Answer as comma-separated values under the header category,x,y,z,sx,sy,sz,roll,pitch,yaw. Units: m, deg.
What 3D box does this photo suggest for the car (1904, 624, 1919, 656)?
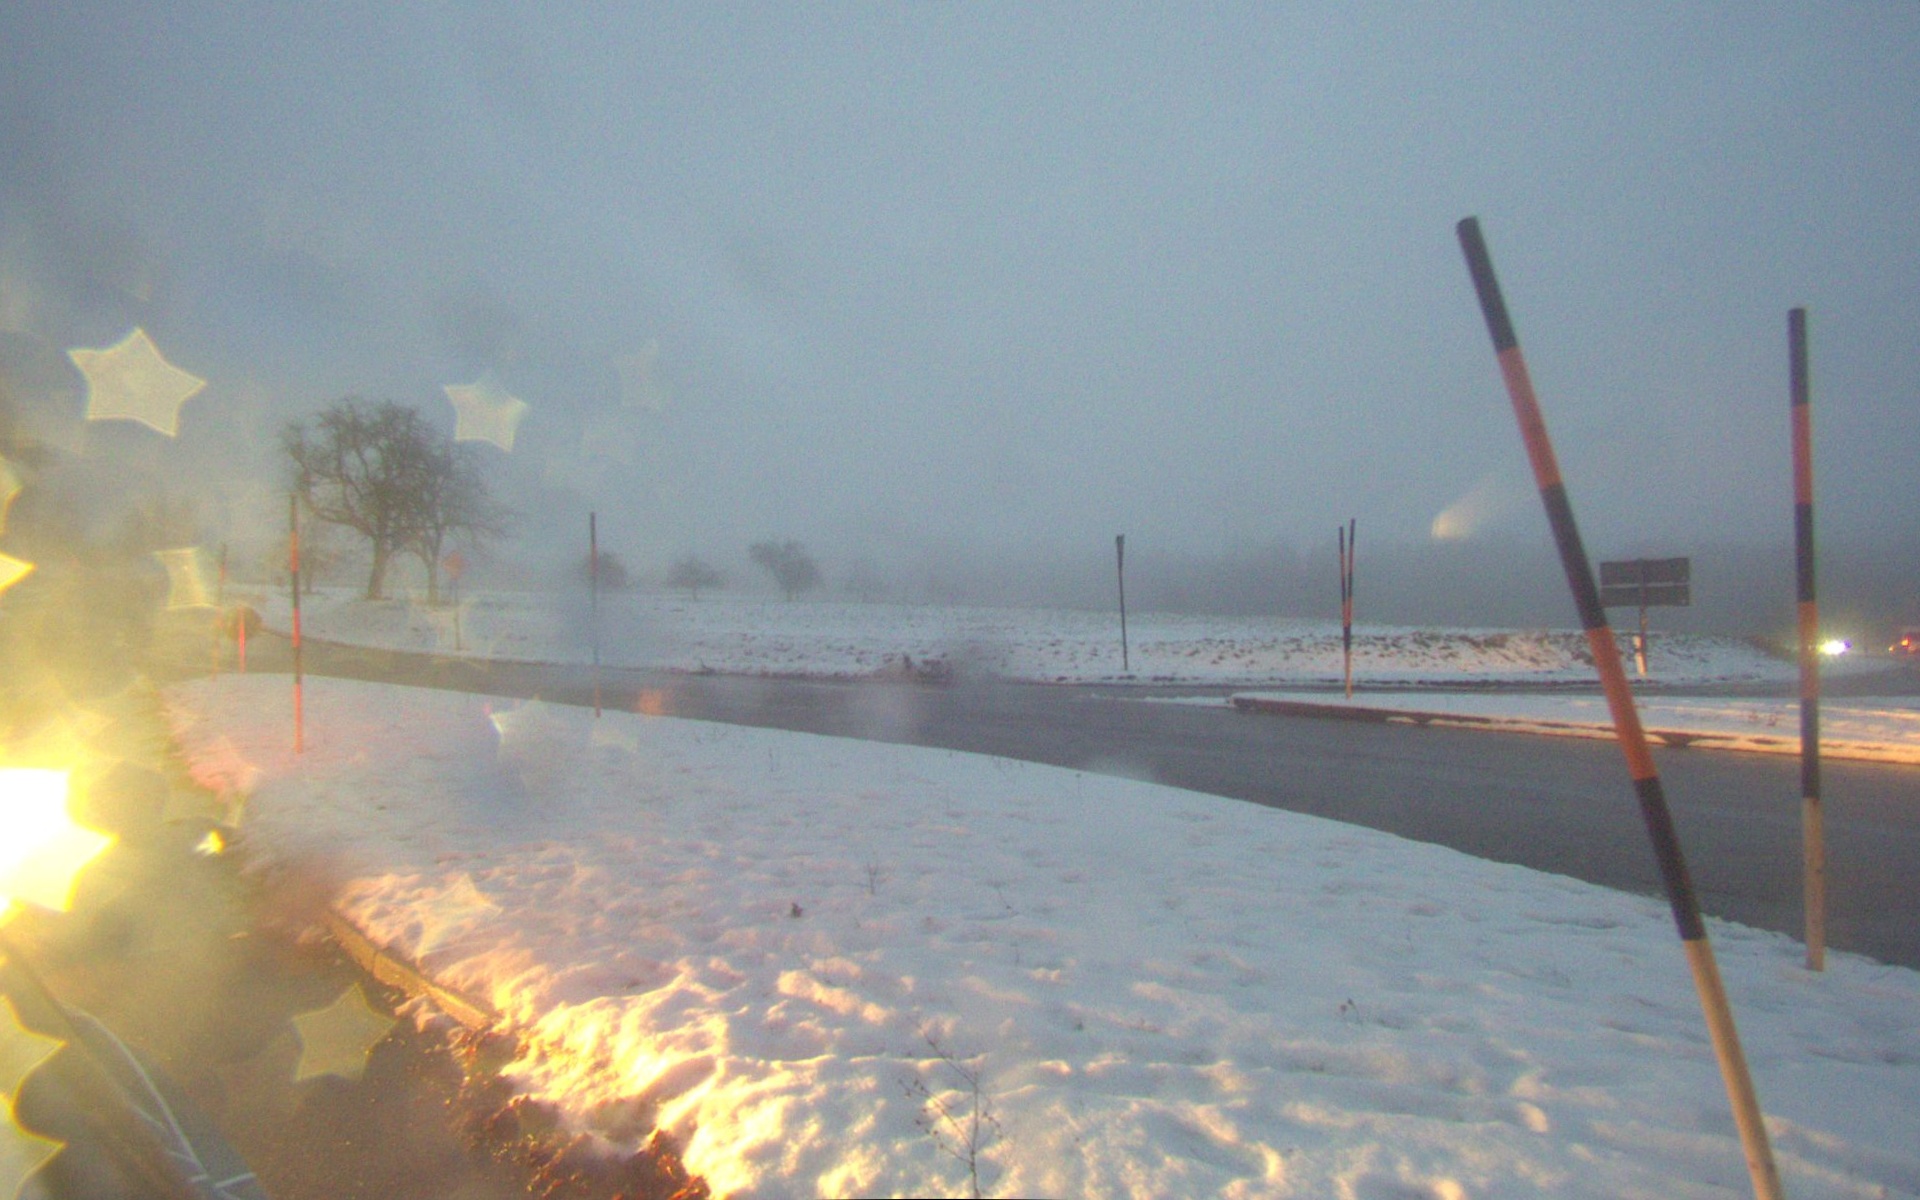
category,x,y,z,sx,sy,sz,roll,pitch,yaw
car,90.099,3.721,94.760,2.151,2.716,5.456,1,2,40

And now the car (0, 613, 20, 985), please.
category,x,y,z,sx,sy,sz,roll,pitch,yaw
car,-5.625,0.794,4.605,3.676,1.445,1.702,0,0,43

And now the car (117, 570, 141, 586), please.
category,x,y,z,sx,sy,sz,roll,pitch,yaw
car,-93.237,-2.472,113.529,1.969,1.820,4.007,0,1,-40
